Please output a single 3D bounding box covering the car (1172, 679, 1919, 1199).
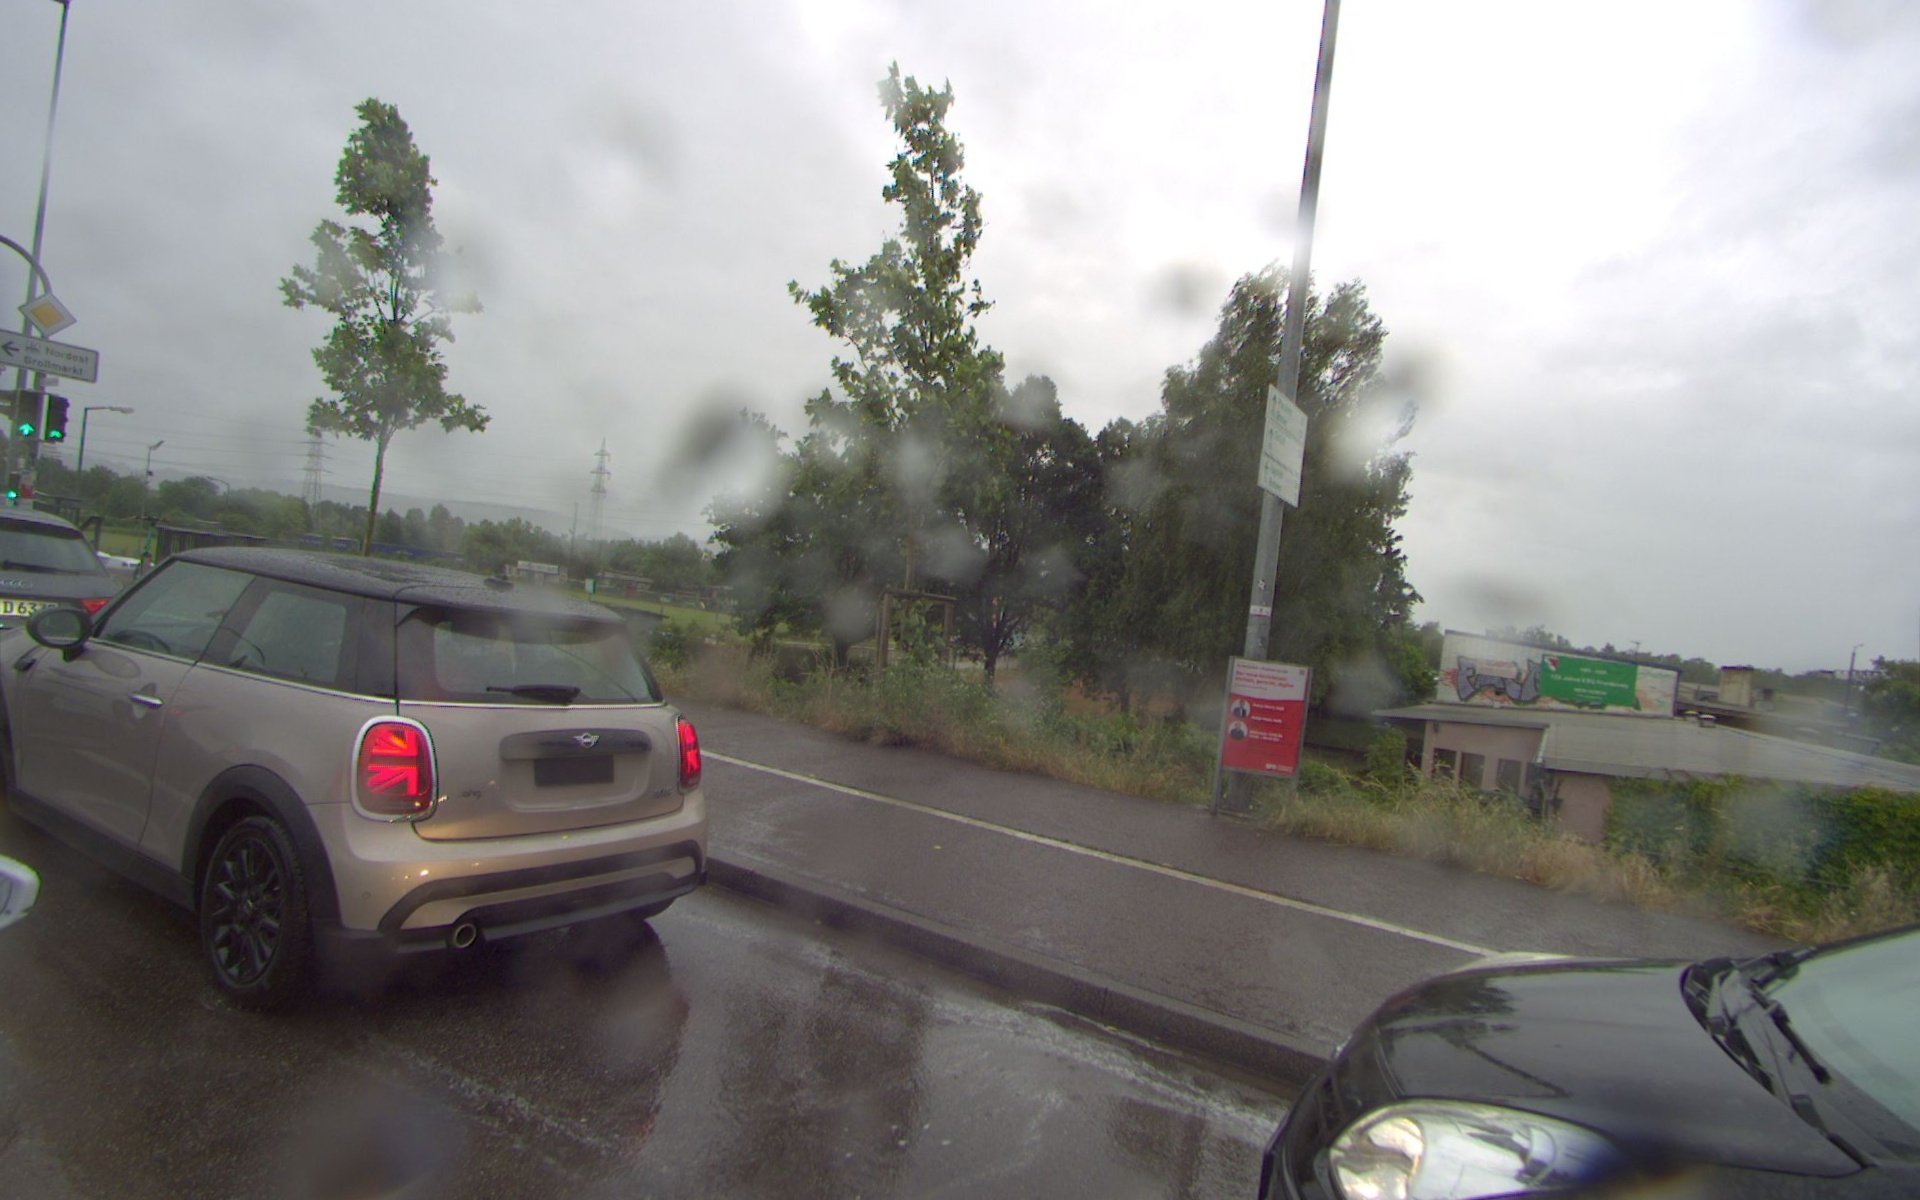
[{"bbox_3d":[2.269,1.115,1.379,3.563,1.445,1.632,7,-1,31],"label":"car"}]

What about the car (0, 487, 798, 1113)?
[{"bbox_3d":[-2.702,0.487,4.284,3.563,1.525,1.717,7,-2,31],"label":"car"}]

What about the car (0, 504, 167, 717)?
[{"bbox_3d":[-7.642,-0.093,7.344,3.563,1.360,1.632,6,-2,31],"label":"car"}]

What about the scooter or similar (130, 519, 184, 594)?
[{"bbox_3d":[-13.643,-0.753,17.082,1.167,1.171,0.246,6,-1,33],"label":"scooter or similar"}]
